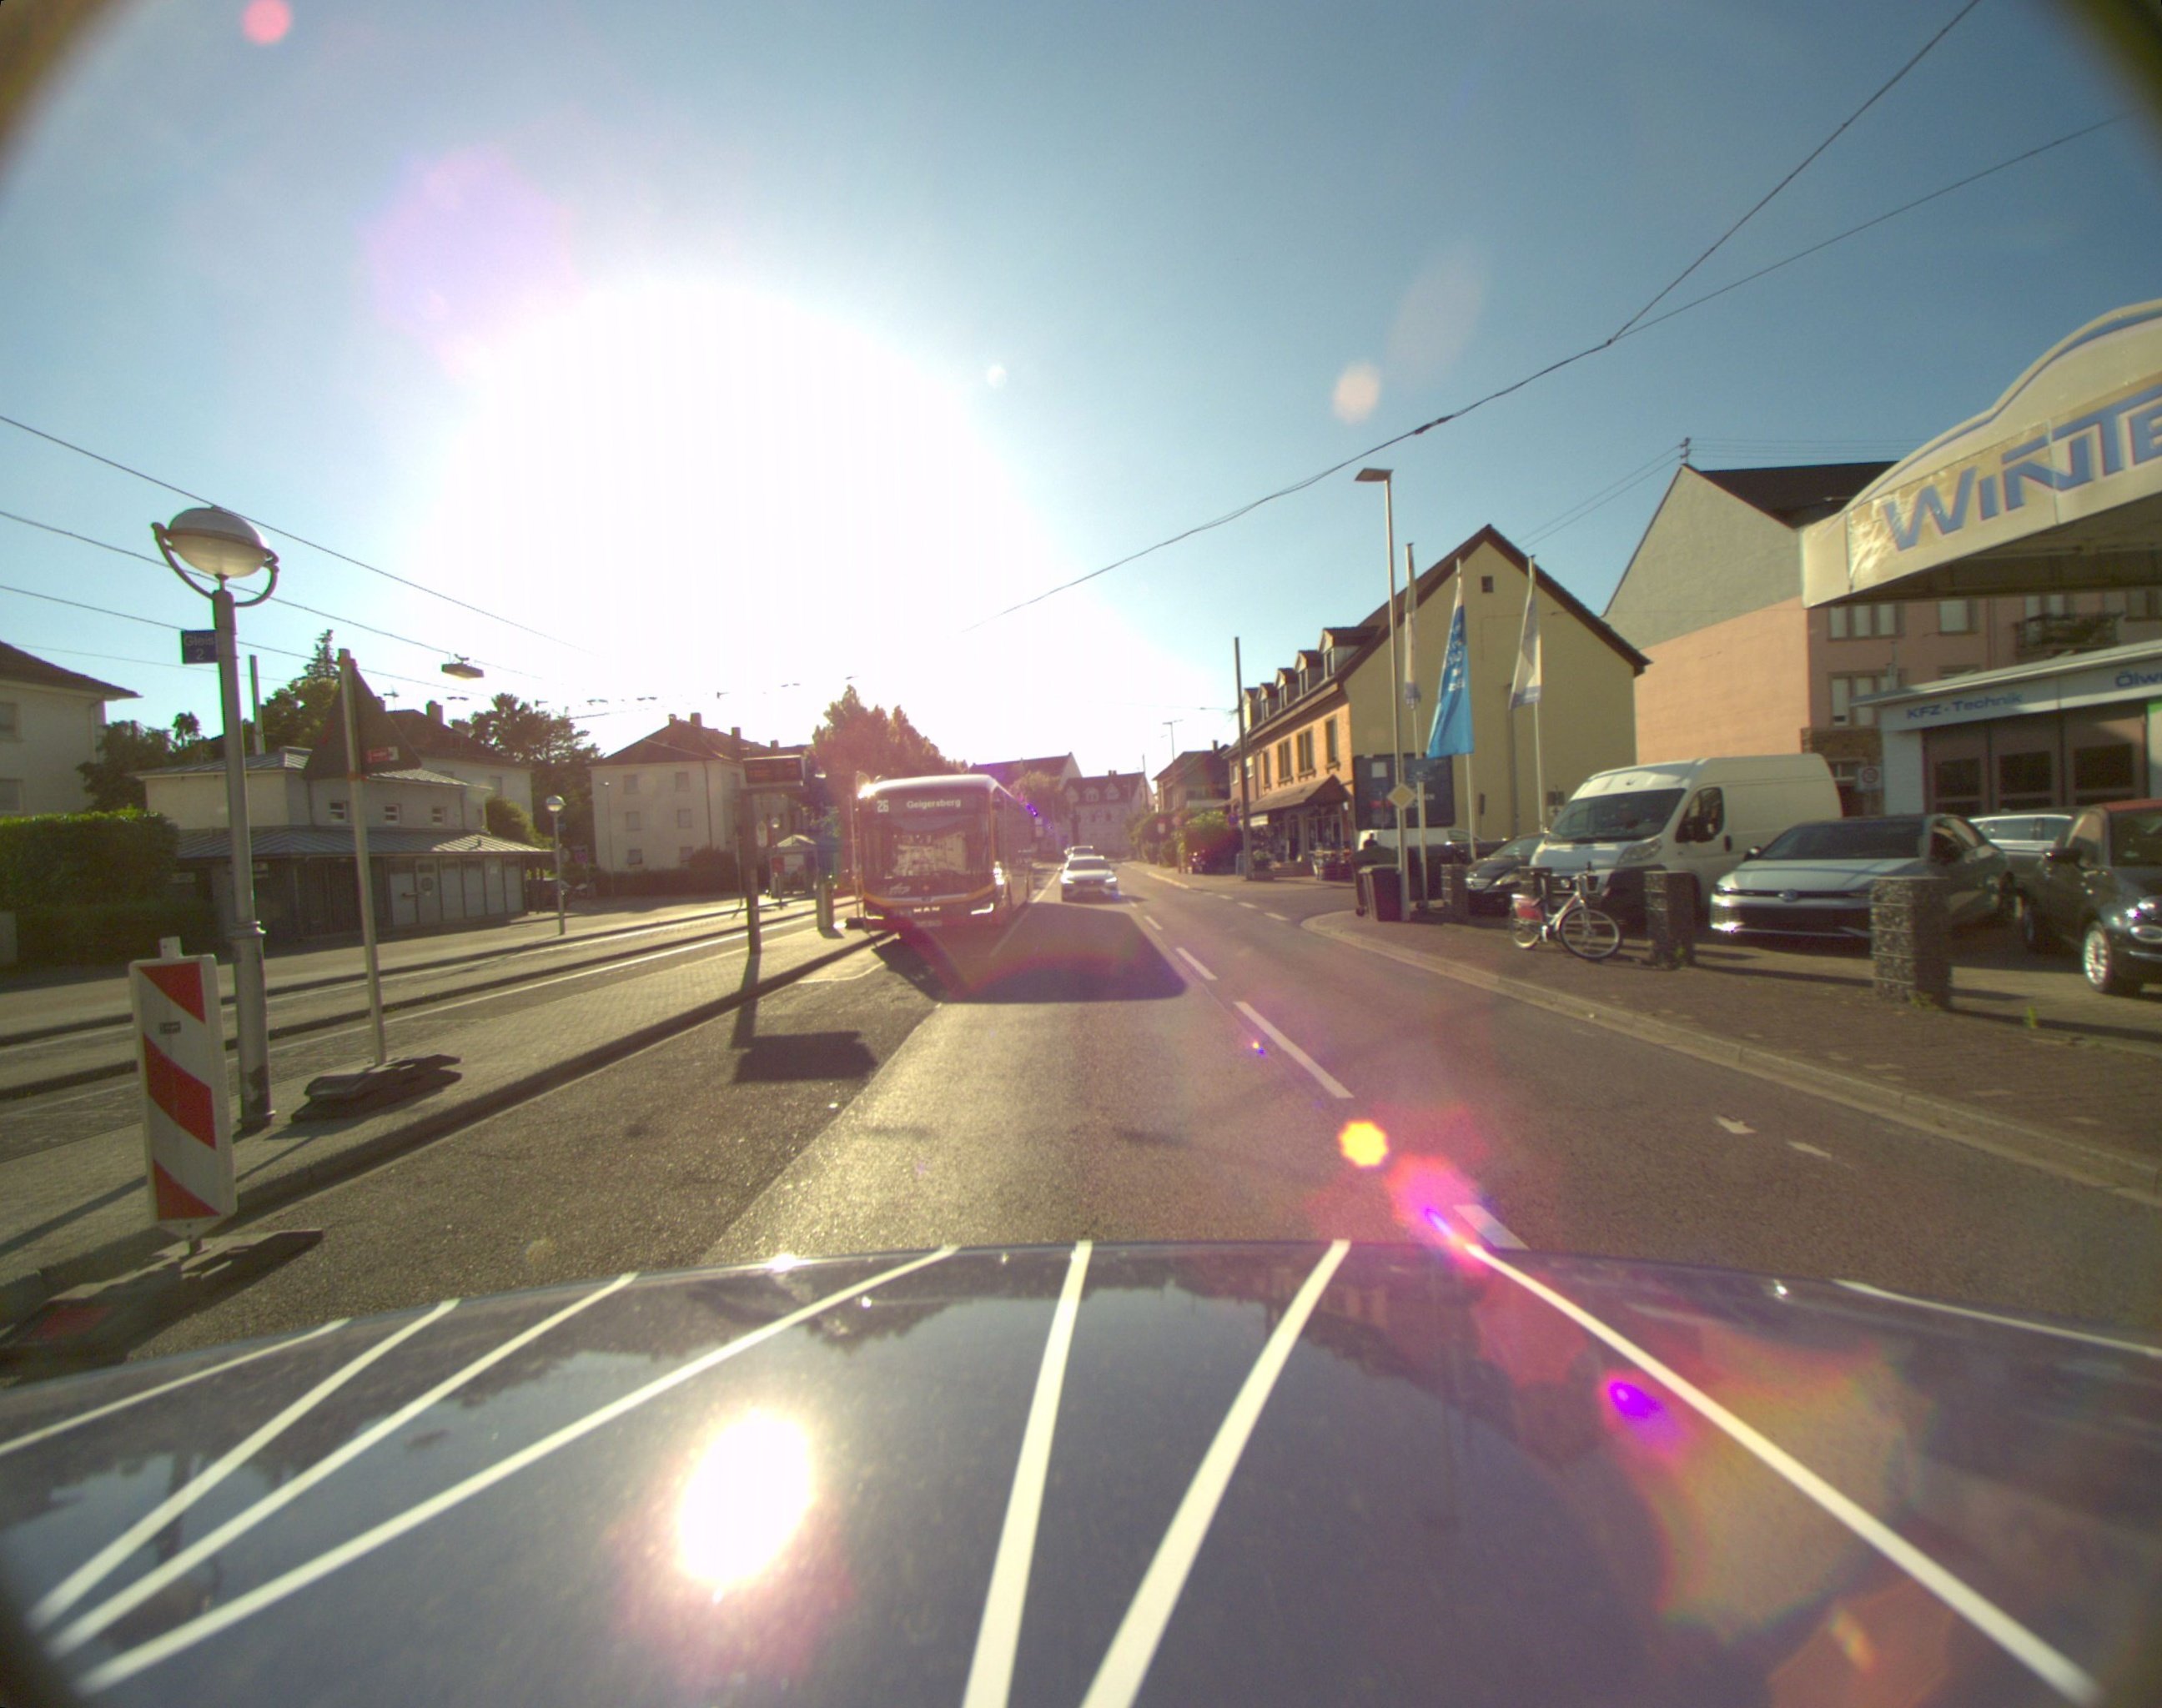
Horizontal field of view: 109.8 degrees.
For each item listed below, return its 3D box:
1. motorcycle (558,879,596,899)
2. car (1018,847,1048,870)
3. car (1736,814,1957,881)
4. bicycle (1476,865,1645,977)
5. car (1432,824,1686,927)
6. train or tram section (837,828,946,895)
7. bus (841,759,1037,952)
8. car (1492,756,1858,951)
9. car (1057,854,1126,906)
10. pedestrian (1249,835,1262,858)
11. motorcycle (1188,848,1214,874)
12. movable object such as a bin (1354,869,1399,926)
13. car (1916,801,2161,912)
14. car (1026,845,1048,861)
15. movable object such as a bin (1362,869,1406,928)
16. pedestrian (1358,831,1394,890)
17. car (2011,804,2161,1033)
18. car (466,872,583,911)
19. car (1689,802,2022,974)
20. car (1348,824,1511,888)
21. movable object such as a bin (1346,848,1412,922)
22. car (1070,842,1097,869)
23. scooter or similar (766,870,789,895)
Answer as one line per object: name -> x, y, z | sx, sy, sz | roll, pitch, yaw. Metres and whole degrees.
motorcycle -> -31.095, 2.154, 46.878 | 1.826, 1.155, 0.558 | -3, 1, -3
car -> -3.731, 0.362, 59.550 | 1.998, 1.664, 4.000 | -2, 0, 1
car -> 20.906, -0.218, 20.907 | 3.997, 1.517, 1.998 | -3, 5, 0
bicycle -> 5.809, 0.760, 9.344 | 0.725, 1.171, 1.779 | -3, 1, -9
car -> 9.073, 0.366, 14.519 | 4.001, 1.559, 1.771 | -4, 0, -14
train or tram section -> -11.665, 0.166, 49.074 | 2.965, 3.514, 15.964 | -2, 2, 0
bus -> -2.927, -0.011, 19.851 | 2.695, 3.396, 12.016 | -3, 0, 0
car -> 9.179, -0.109, 11.744 | 5.076, 2.455, 2.105 | -4, 1, -22
car -> 0.437, 0.781, 25.248 | 1.998, 1.454, 4.450 | -3, 0, 4
pedestrian -> 9.559, -0.415, 41.654 | 0.524, 1.251, 0.465 | -3, 1, 1
motorcycle -> 6.317, 0.363, 40.219 | 0.841, 1.275, 2.231 | -4, 1, -3
movable object such as a bin -> 5.871, 0.855, 15.118 | 0.661, 1.056, 0.585 | -5, -1, 12
car -> 16.356, 0.001, 11.864 | 1.772, 1.559, 4.315 | -4, 0, -1
car -> -4.832, -0.072, 83.938 | 1.998, 1.664, 4.000 | -2, 0, 1
movable object such as a bin -> 5.774, 0.842, 14.503 | 0.641, 1.063, 0.581 | -3, -2, 12
pedestrian -> 9.602, 0.198, 24.778 | 0.794, 1.857, 0.820 | -3, 1, 2
car -> 9.107, 0.378, 6.114 | 1.617, 1.559, 3.400 | -2, 1, 43
car -> -28.015, 1.881, 38.345 | 4.448, 1.759, 2.000 | -2, 1, 4
car -> 9.359, 0.294, 9.135 | 4.005, 1.559, 1.769 | -4, 0, -29
car -> 11.871, 0.048, 26.107 | 4.627, 1.922, 1.999 | -3, 1, -2
movable object such as a bin -> 6.358, 0.650, 16.182 | 1.055, 1.473, 1.315 | -4, -2, 28
car -> 0.148, 0.134, 60.674 | 1.871, 1.922, 4.791 | -4, 0, -2
scooter or similar -> -16.106, 1.507, 40.301 | 0.467, 1.201, 1.210 | -2, 1, 11
